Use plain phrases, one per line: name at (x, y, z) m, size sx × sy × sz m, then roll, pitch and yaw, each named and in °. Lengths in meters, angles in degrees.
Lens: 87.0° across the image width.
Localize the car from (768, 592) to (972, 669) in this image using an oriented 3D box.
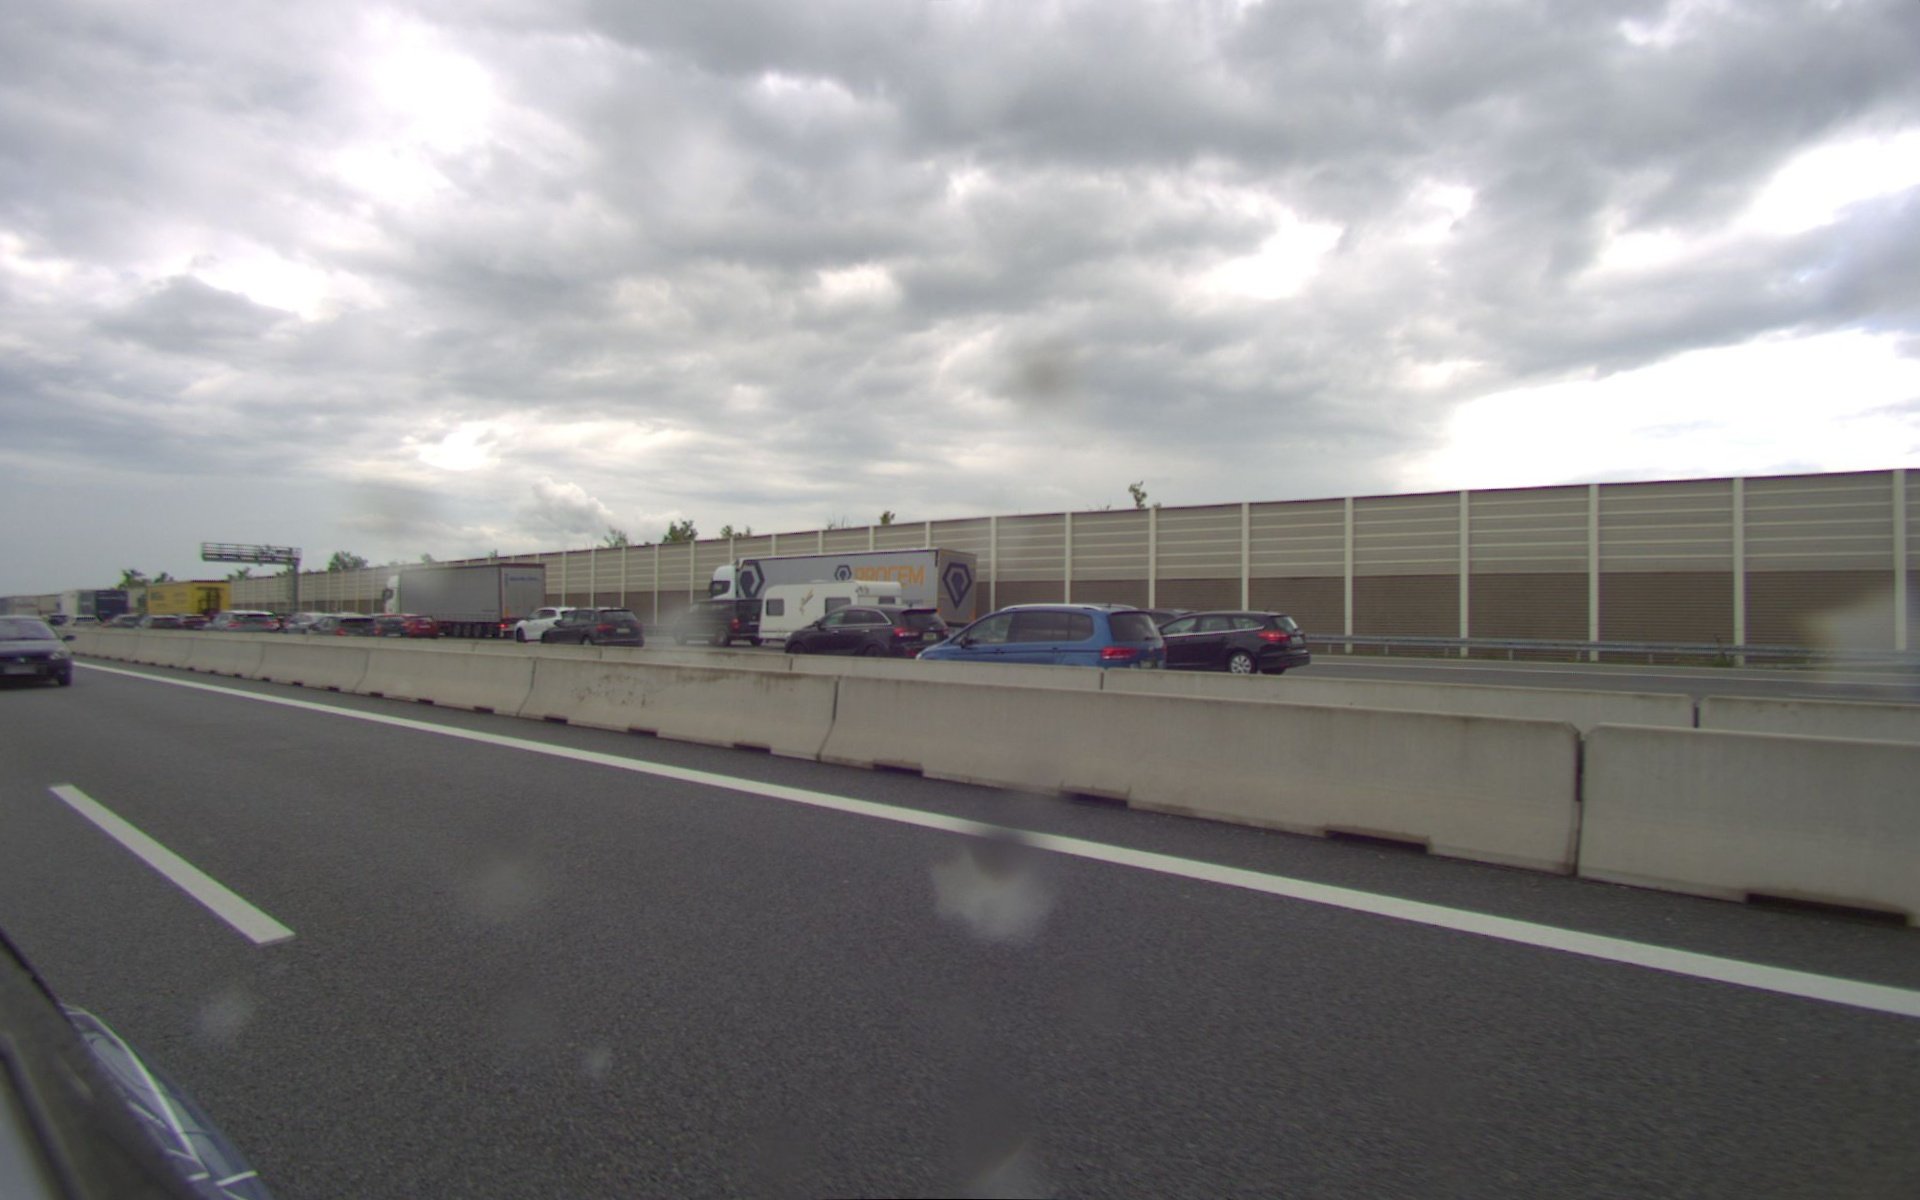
car at (-2.297, 0.724, 24.860) m, size 5.085 × 1.712 × 2.040 m, roll -1°, pitch -1°, yaw 40°

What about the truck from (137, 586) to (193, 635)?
truck at (-68.473, 0.911, 87.128) m, size 5.721 × 4.065 × 2.717 m, roll -1°, pitch -1°, yaw 40°

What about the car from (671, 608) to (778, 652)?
car at (-9.759, 1.215, 41.740) m, size 4.657 × 1.712 × 1.935 m, roll -1°, pitch -1°, yaw 41°

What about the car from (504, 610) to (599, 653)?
car at (-17.584, 1.336, 43.447) m, size 4.406 × 1.712 × 1.936 m, roll -1°, pitch -1°, yaw 39°

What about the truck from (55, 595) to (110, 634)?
truck at (-94.582, 1.601, 109.037) m, size 11.060 × 3.975 × 2.907 m, roll -1°, pitch -1°, yaw 41°

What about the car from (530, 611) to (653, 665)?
car at (-12.450, 1.246, 34.070) m, size 4.406 × 1.712 × 1.936 m, roll -1°, pitch -1°, yaw 39°

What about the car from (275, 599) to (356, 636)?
car at (-33.069, 0.899, 51.888) m, size 5.108 × 1.830 × 2.040 m, roll -1°, pitch -1°, yaw 39°

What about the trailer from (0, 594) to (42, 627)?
trailer at (-125.265, 1.453, 134.456) m, size 14.304 × 4.192 × 3.027 m, roll -1°, pitch -1°, yaw 40°

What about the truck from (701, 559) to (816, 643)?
truck at (-10.344, 0.082, 51.674) m, size 5.723 × 4.065 × 2.887 m, roll -1°, pitch -1°, yaw 41°

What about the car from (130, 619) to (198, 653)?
car at (-44.949, 2.022, 57.091) m, size 4.773 × 1.830 × 2.040 m, roll -1°, pitch -1°, yaw 39°

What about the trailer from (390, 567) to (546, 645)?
trailer at (-28.695, 0.410, 58.439) m, size 14.446 × 4.062 × 2.732 m, roll -1°, pitch -1°, yaw 41°

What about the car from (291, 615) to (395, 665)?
car at (-22.634, 1.446, 37.063) m, size 4.406 × 1.712 × 1.936 m, roll -1°, pitch -1°, yaw 39°

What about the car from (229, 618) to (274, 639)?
car at (-59.841, 2.378, 85.433) m, size 4.406 × 1.712 × 2.040 m, roll -1°, pitch -1°, yaw 39°

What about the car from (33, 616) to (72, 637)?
car at (-89.099, 2.634, 99.331) m, size 5.801 × 2.018 × 2.040 m, roll -1°, pitch -1°, yaw 39°

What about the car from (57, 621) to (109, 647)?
car at (-61.592, 2.387, 71.025) m, size 4.406 × 1.712 × 2.040 m, roll -1°, pitch -1°, yaw 39°

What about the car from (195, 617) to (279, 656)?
car at (-33.036, 1.643, 46.179) m, size 4.888 × 1.712 × 1.936 m, roll -1°, pitch -1°, yaw 39°

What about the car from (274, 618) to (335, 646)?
car at (-41.424, 2.017, 63.931) m, size 4.406 × 1.712 × 2.040 m, roll -1°, pitch -1°, yaw 39°

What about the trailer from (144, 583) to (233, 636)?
trailer at (-63.223, 0.839, 82.694) m, size 14.441 × 4.062 × 2.733 m, roll -1°, pitch -1°, yaw 40°

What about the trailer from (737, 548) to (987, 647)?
trailer at (-4.975, -0.001, 46.995) m, size 13.854 × 4.062 × 2.905 m, roll -1°, pitch -1°, yaw 41°

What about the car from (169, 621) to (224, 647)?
car at (-52.594, 2.352, 69.678) m, size 4.406 × 1.712 × 2.040 m, roll -1°, pitch -1°, yaw 39°

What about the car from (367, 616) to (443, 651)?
car at (-28.659, 1.707, 52.205) m, size 4.406 × 1.712 × 1.936 m, roll -1°, pitch -1°, yaw 39°

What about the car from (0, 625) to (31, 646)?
car at (-82.316, 3.030, 87.606) m, size 5.801 × 1.769 × 2.040 m, roll -1°, pitch -1°, yaw 39°

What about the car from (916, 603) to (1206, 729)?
car at (1.492, 0.942, 15.870) m, size 4.218 × 1.712 × 1.854 m, roll -1°, pitch -1°, yaw 40°

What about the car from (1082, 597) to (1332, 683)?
car at (5.442, 0.860, 22.732) m, size 5.084 × 1.712 × 2.040 m, roll -1°, pitch -1°, yaw 40°

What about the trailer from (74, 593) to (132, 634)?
trailer at (-86.540, 1.407, 102.123) m, size 10.113 × 3.969 × 2.901 m, roll -1°, pitch -1°, yaw 41°

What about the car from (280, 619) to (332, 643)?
car at (-49.003, 2.300, 75.798) m, size 4.406 × 1.712 × 2.040 m, roll -1°, pitch -1°, yaw 39°

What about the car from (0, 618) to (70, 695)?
car at (-19.092, 1.071, 20.149) m, size 3.998 × 1.413 × 1.558 m, roll -1°, pitch -1°, yaw 41°

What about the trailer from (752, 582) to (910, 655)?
trailer at (-4.878, 0.699, 37.572) m, size 6.082 × 2.514 × 2.433 m, roll -1°, pitch -1°, yaw 41°

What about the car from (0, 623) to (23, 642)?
car at (-106.962, 3.616, 113.535) m, size 5.803 × 2.018 × 2.040 m, roll -1°, pitch -1°, yaw 40°

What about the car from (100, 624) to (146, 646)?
car at (-66.583, 2.773, 80.461) m, size 4.406 × 1.712 × 2.040 m, roll -1°, pitch -1°, yaw 39°

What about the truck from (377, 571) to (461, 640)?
truck at (-33.586, 0.370, 62.762) m, size 5.723 × 4.065 × 2.716 m, roll -1°, pitch -1°, yaw 41°

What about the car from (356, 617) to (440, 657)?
car at (-25.874, 1.675, 46.545) m, size 4.406 × 1.712 × 1.936 m, roll -1°, pitch -1°, yaw 39°

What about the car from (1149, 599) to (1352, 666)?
car at (8.046, 0.887, 28.359) m, size 5.084 × 1.712 × 2.040 m, roll -1°, pitch -1°, yaw 40°
